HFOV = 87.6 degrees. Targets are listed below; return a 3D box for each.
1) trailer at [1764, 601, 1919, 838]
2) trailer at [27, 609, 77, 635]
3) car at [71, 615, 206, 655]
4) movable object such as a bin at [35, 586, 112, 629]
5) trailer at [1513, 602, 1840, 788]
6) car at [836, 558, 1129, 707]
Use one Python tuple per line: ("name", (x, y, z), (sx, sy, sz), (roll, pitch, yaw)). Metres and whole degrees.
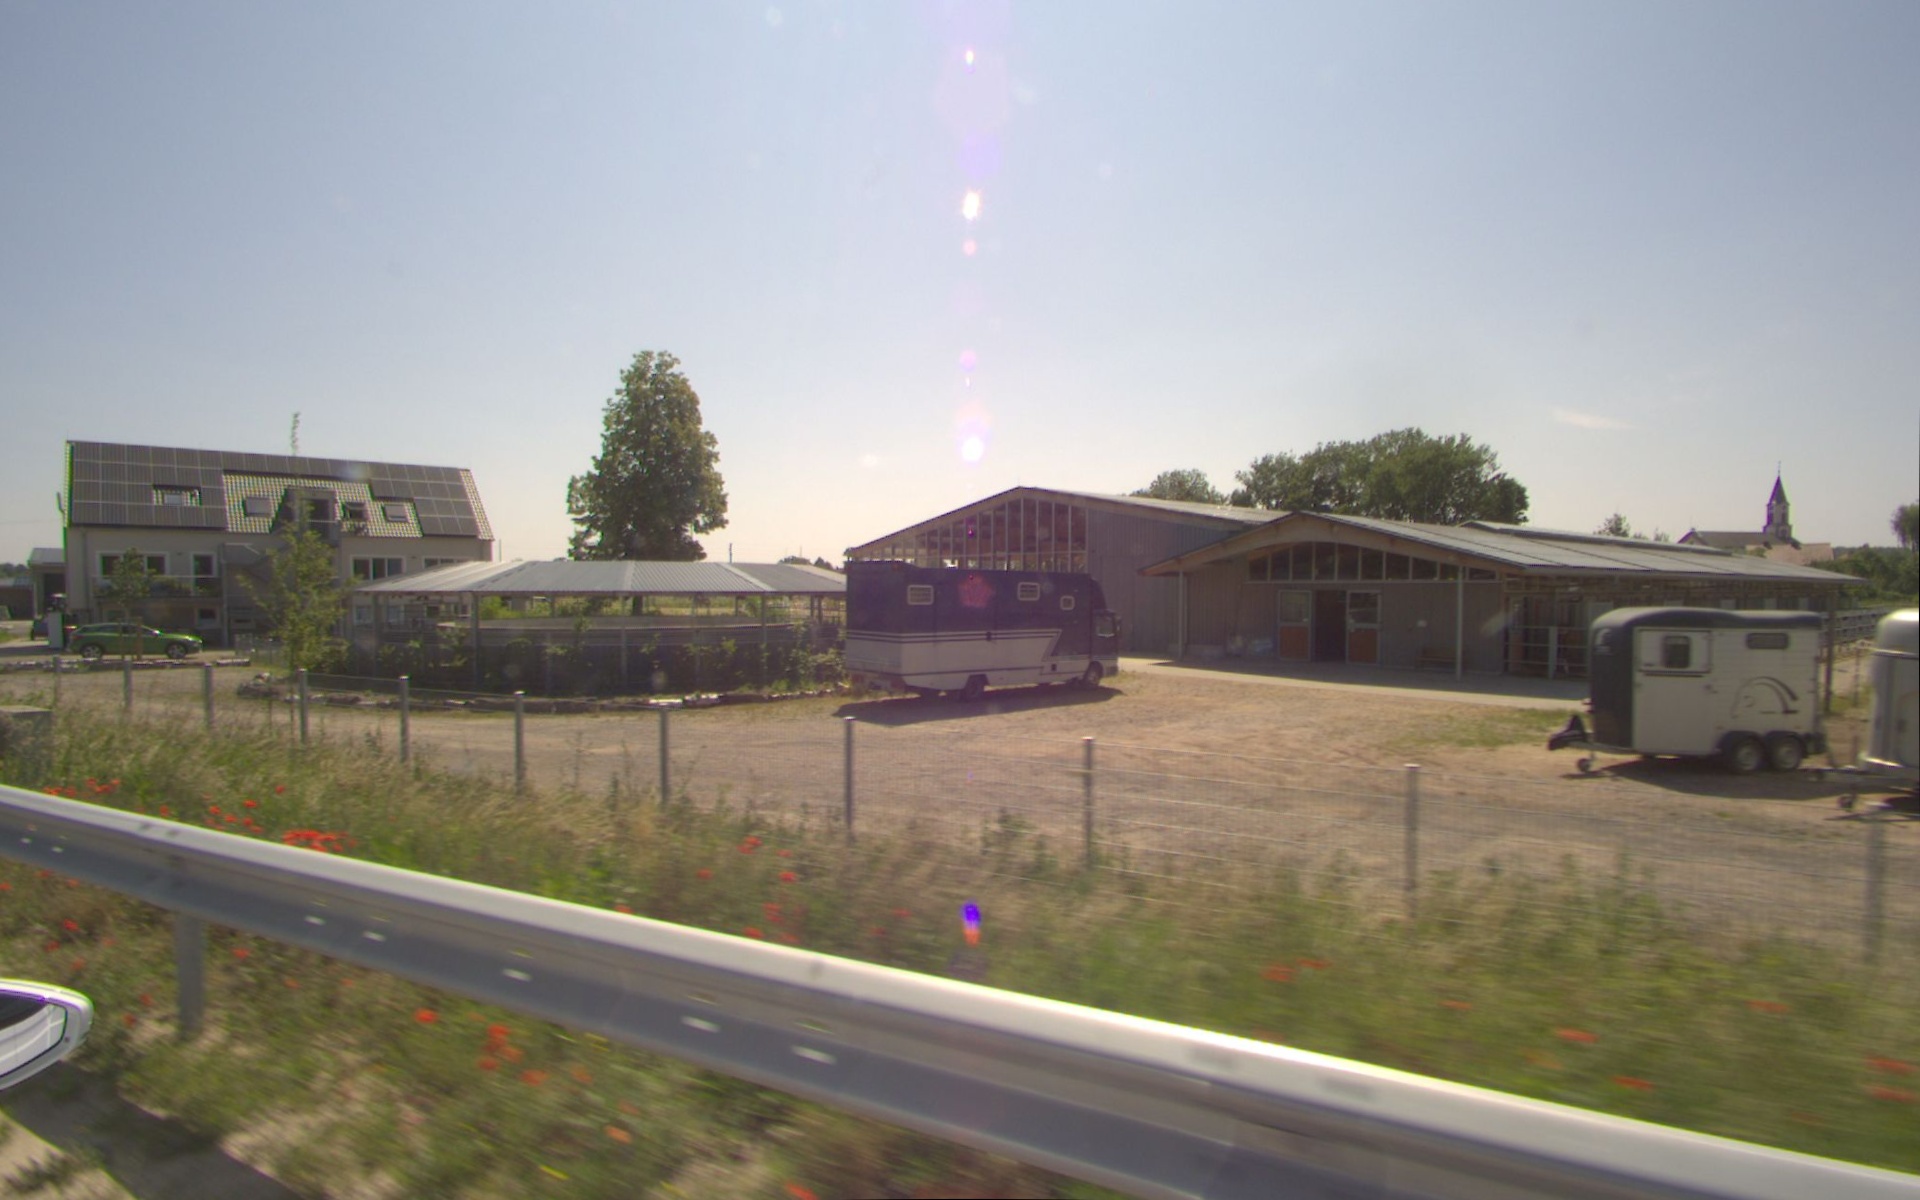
("trailer", (14.224, 1.492, 13.817), (4.951, 2.904, 2.231), (0, 2, -13))
("trailer", (-54.707, 1.358, 60.399), (1.692, 1.515, 3.124), (0, -1, -32))
("car", (-34.624, 1.484, 42.350), (4.324, 1.600, 1.919), (1, -2, -39))
("movable object such as a bin", (-62.037, 0.496, 70.057), (6.423, 2.806, 2.991), (1, 0, 39))
("trailer", (12.141, 1.486, 17.116), (4.398, 2.707, 2.172), (-2, 2, -13))
("car", (0.907, 0.803, 28.722), (8.899, 3.702, 2.755), (0, 1, -41))
